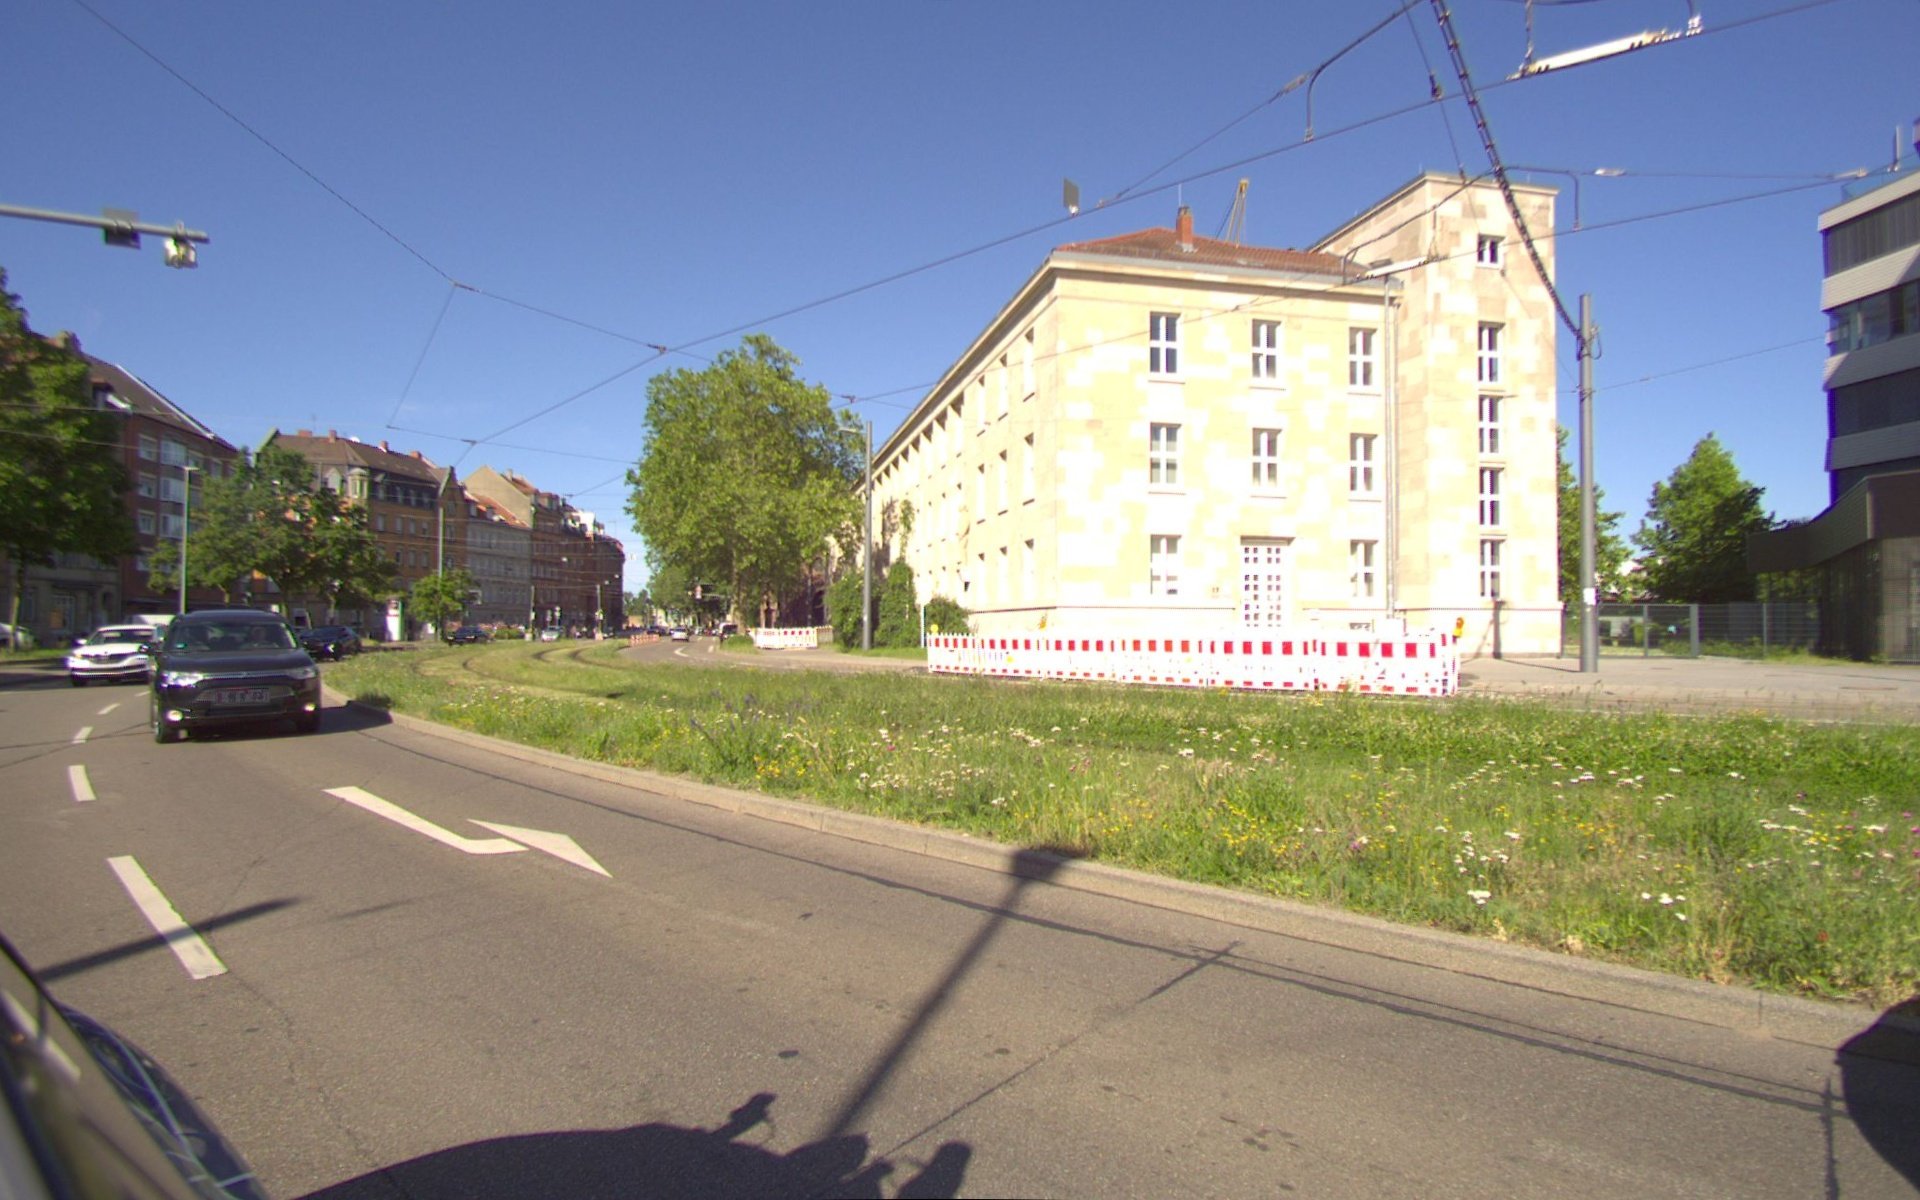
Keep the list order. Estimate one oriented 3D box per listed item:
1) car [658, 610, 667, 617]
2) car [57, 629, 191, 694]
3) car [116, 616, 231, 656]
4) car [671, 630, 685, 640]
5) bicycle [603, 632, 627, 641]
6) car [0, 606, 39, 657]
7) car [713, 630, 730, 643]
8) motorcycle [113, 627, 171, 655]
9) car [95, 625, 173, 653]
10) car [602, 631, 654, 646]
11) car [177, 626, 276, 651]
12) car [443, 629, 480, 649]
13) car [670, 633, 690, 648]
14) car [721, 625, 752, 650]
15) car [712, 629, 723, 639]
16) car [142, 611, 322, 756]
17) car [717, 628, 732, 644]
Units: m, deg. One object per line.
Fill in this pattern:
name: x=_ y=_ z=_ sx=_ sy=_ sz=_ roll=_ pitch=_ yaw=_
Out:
car: x=-67.302 y=3.004 z=229.137 sx=1.769 sy=1.440 sz=4.387 roll=0 pitch=-2 yaw=-13
car: x=-23.267 y=1.648 z=28.352 sx=1.771 sy=1.648 sz=4.408 roll=0 pitch=-1 yaw=-24
car: x=-44.663 y=2.074 z=57.539 sx=2.020 sy=2.091 sz=4.812 roll=-1 pitch=-4 yaw=42
car: x=-56.515 y=6.999 z=202.787 sx=2.034 sy=1.905 sz=4.526 roll=2 pitch=-2 yaw=-9
bicycle: x=-56.030 y=5.898 z=164.349 sx=1.779 sy=1.448 sz=8.789 roll=0 pitch=-2 yaw=-6
car: x=-40.210 y=1.208 z=40.303 sx=5.108 sy=2.028 sz=2.103 roll=4 pitch=-3 yaw=-43
car: x=-30.424 y=4.629 z=129.103 sx=1.750 sy=1.586 sz=3.688 roll=1 pitch=-3 yaw=-17
motorcycle: x=-43.944 y=2.210 z=54.391 sx=0.851 sy=1.431 sz=2.240 roll=-1 pitch=-3 yaw=27
car: x=-54.600 y=2.537 z=66.985 sx=1.968 sy=1.485 sz=4.500 roll=-6 pitch=1 yaw=-11
car: x=-35.303 y=4.102 z=107.623 sx=4.908 sy=1.464 sz=1.829 roll=0 pitch=-2 yaw=11
car: x=-46.655 y=2.460 z=64.449 sx=2.021 sy=1.446 sz=4.810 roll=-1 pitch=-4 yaw=44
car: x=-36.197 y=2.806 z=73.586 sx=1.858 sy=1.438 sz=4.390 roll=0 pitch=-2 yaw=-18
car: x=-28.774 y=4.189 z=104.146 sx=1.805 sy=1.464 sz=4.181 roll=1 pitch=-2 yaw=-12
car: x=-13.745 y=2.291 z=62.167 sx=1.805 sy=1.504 sz=4.192 roll=0 pitch=-2 yaw=-13
car: x=-40.870 y=5.730 z=170.765 sx=1.766 sy=1.563 sz=4.318 roll=0 pitch=-2 yaw=-13
car: x=-10.422 y=1.051 z=14.336 sx=1.813 sy=1.695 sz=4.651 roll=0 pitch=-1 yaw=-39
car: x=-32.468 y=4.938 z=139.280 sx=1.890 sy=2.113 sz=4.605 roll=0 pitch=-2 yaw=-15
